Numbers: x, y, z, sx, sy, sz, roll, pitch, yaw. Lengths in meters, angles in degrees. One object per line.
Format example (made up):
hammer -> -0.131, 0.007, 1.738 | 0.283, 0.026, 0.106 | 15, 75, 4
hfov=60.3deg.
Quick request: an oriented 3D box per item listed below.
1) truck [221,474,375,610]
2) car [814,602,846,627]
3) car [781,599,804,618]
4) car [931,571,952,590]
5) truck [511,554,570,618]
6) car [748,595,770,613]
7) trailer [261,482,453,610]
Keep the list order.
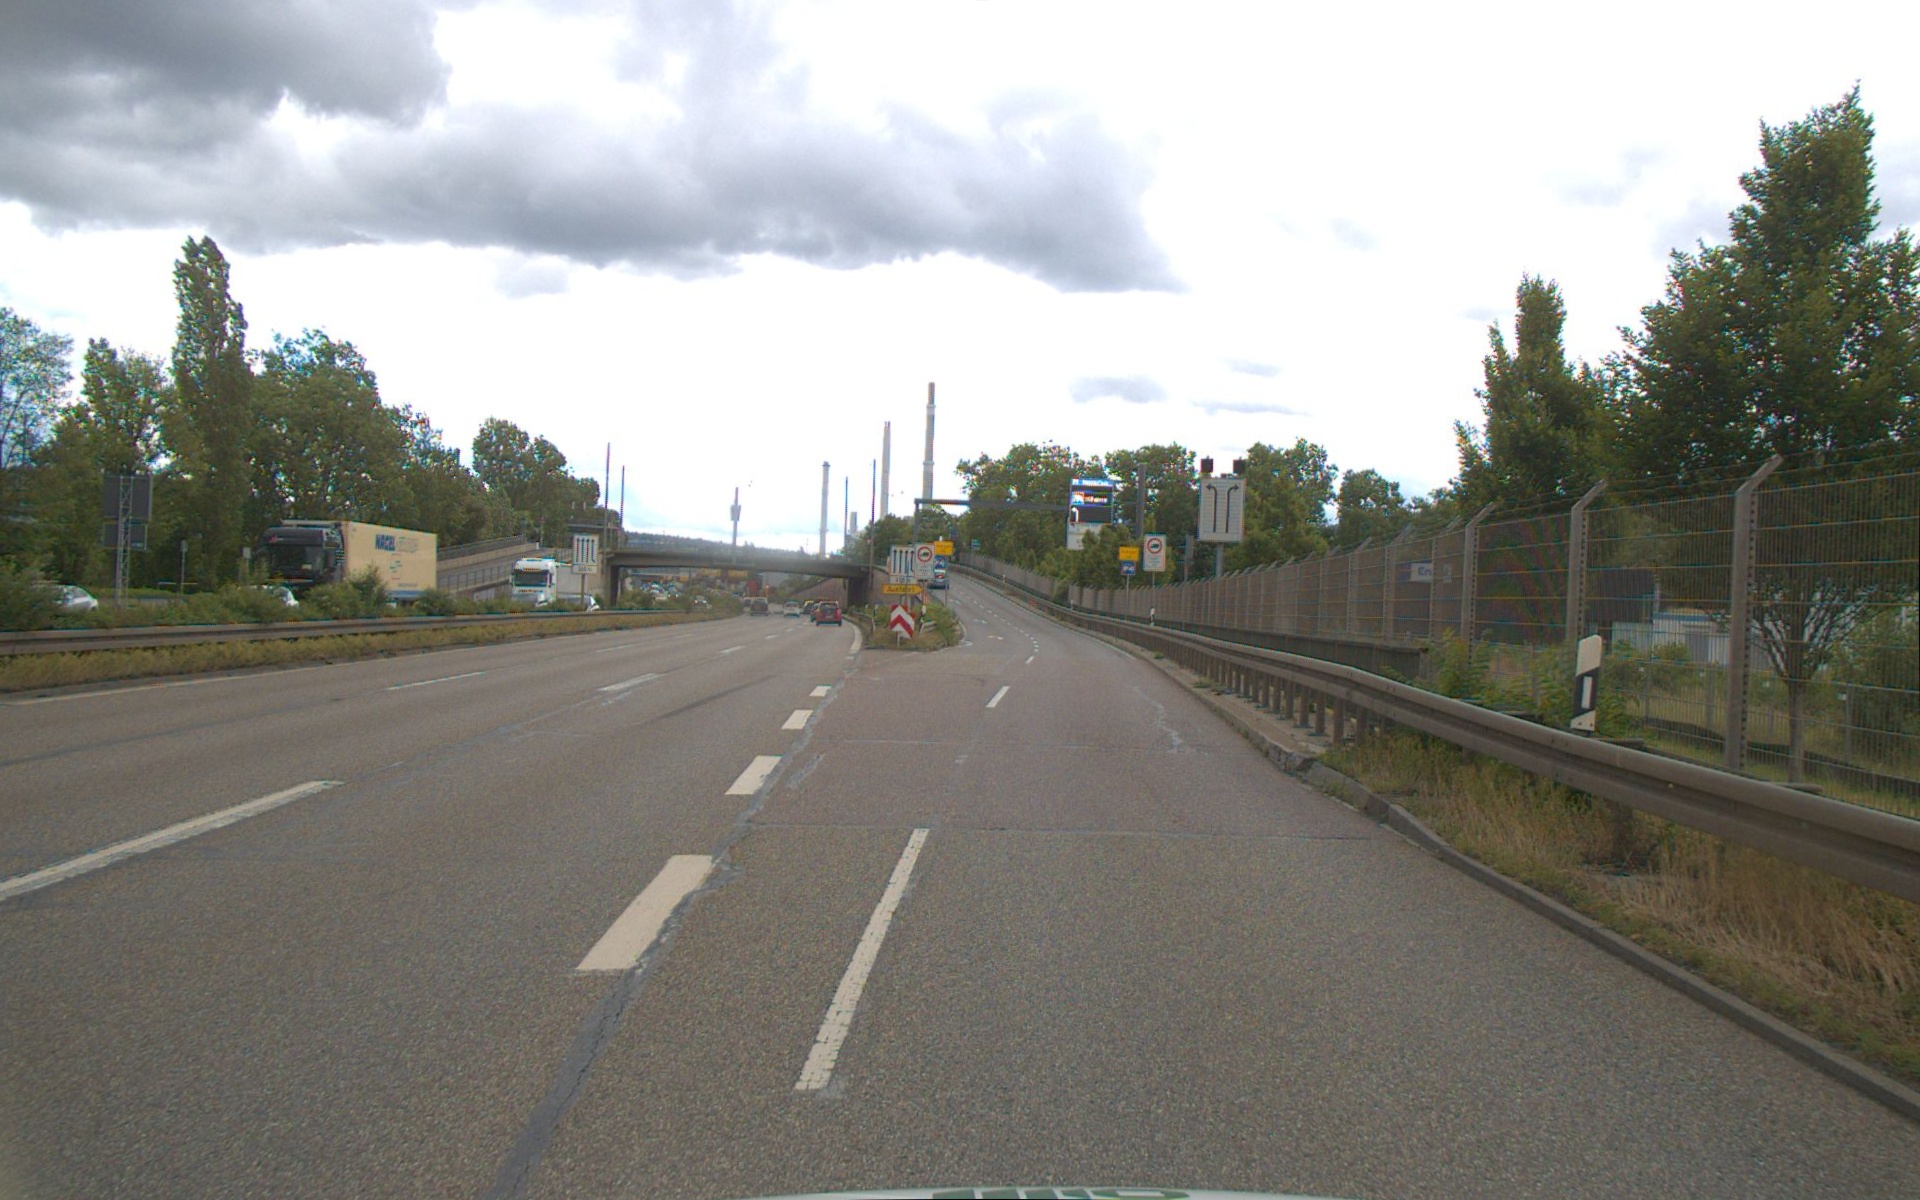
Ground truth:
truck -> -24.936, -2.088, 62.685 | 3.395, 4.754, 6.207 | 2, 0, -3
car -> -8.305, 0.913, 105.736 | 1.955, 1.444, 3.996 | 3, 1, -5
car -> -16.858, 0.854, 166.739 | 1.954, 1.713, 3.998 | 3, 1, -2
car -> -1.632, -1.690, 146.174 | 1.713, 1.608, 4.085 | 0, 0, 1
truck -> -27.861, -0.900, 109.954 | 2.735, 4.006, 5.307 | 3, -1, -5
car -> -20.923, 0.408, 172.335 | 1.954, 1.713, 3.998 | 3, 1, -2
trailer -> -25.372, -2.103, 70.800 | 3.395, 4.754, 14.773 | 2, 0, -3
